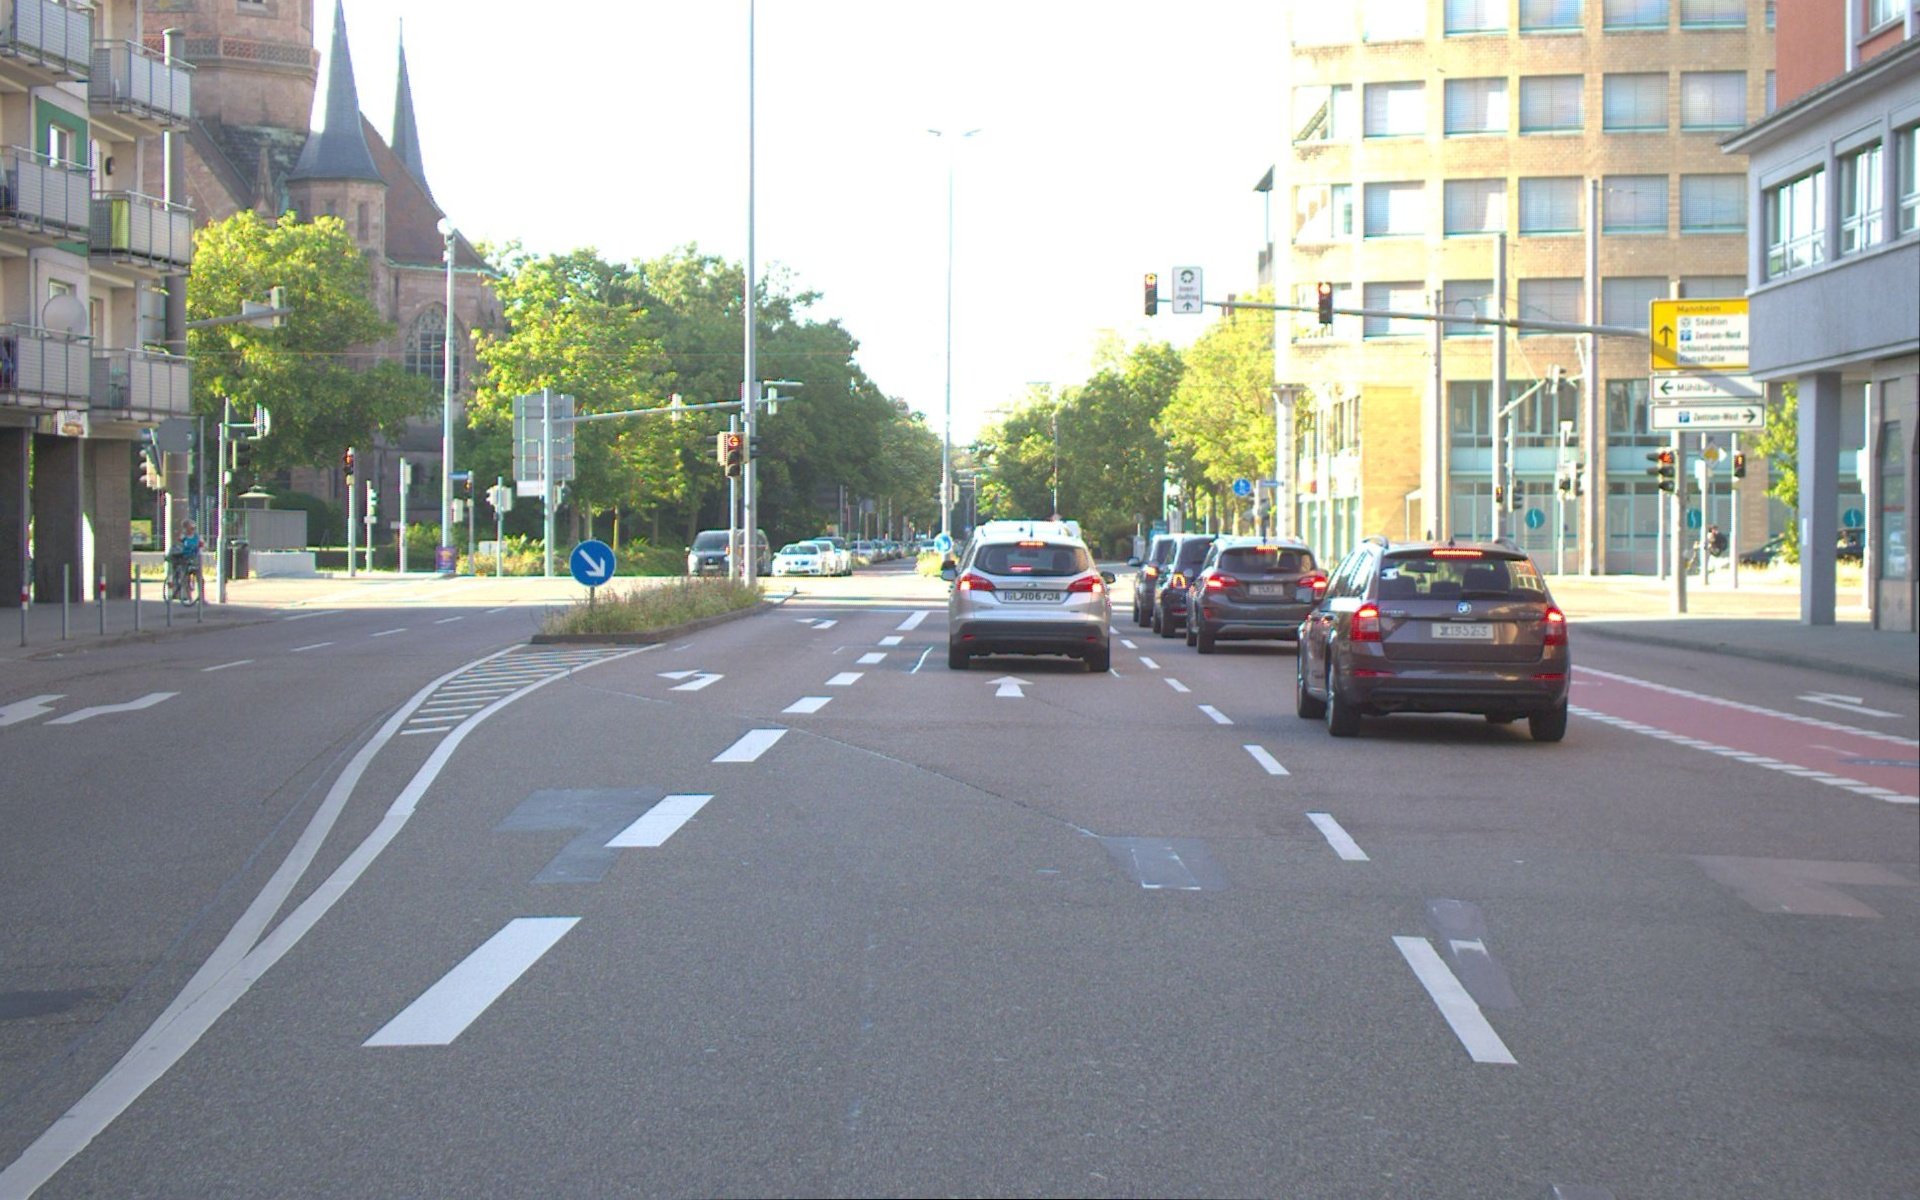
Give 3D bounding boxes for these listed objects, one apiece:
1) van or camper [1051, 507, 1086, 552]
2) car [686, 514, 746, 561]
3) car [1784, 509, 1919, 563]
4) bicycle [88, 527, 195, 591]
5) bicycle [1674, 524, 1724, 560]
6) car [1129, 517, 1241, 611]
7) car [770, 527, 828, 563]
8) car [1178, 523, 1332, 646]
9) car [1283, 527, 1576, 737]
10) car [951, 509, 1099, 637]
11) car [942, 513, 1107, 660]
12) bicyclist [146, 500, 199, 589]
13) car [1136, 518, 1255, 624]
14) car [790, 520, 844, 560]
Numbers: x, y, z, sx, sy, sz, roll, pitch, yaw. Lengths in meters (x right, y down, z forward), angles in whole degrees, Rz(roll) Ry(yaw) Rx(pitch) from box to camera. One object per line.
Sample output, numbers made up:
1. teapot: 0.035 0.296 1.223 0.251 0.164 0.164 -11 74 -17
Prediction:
1. van or camper: 6.382 -4.176 202.313 1.994 2.631 5.350 0 2 2
2. car: -8.763 -2.264 123.492 1.780 1.641 4.000 0 2 1
3. car: 27.387 -1.944 104.561 4.229 1.609 2.000 0 1 3
4. bicycle: -15.271 -0.772 64.138 1.827 1.184 0.734 0 1 0
5. bicycle: 23.713 -1.861 110.321 1.520 1.168 0.475 0 1 8
6. car: 3.656 -0.616 56.251 1.584 1.441 3.648 2 1 1
7. car: -5.740 -1.990 122.886 1.780 1.232 4.000 0 2 1
8. car: 3.785 -0.238 44.719 1.650 1.479 4.239 1 2 1
9. car: 3.492 0.184 26.230 1.707 1.452 4.159 0 2 1
10. car: 0.791 -0.381 44.107 1.803 1.563 3.619 0 2 0
11. car: 0.699 -0.200 38.324 1.707 1.504 4.309 1 2 1
12. bicyclist: -14.861 -1.053 64.901 0.782 1.654 0.901 0 1 1
13. car: 3.436 -0.458 50.623 1.489 1.500 3.479 0 1 0
14. car: -5.374 -2.272 129.449 1.780 1.459 4.000 0 2 1
